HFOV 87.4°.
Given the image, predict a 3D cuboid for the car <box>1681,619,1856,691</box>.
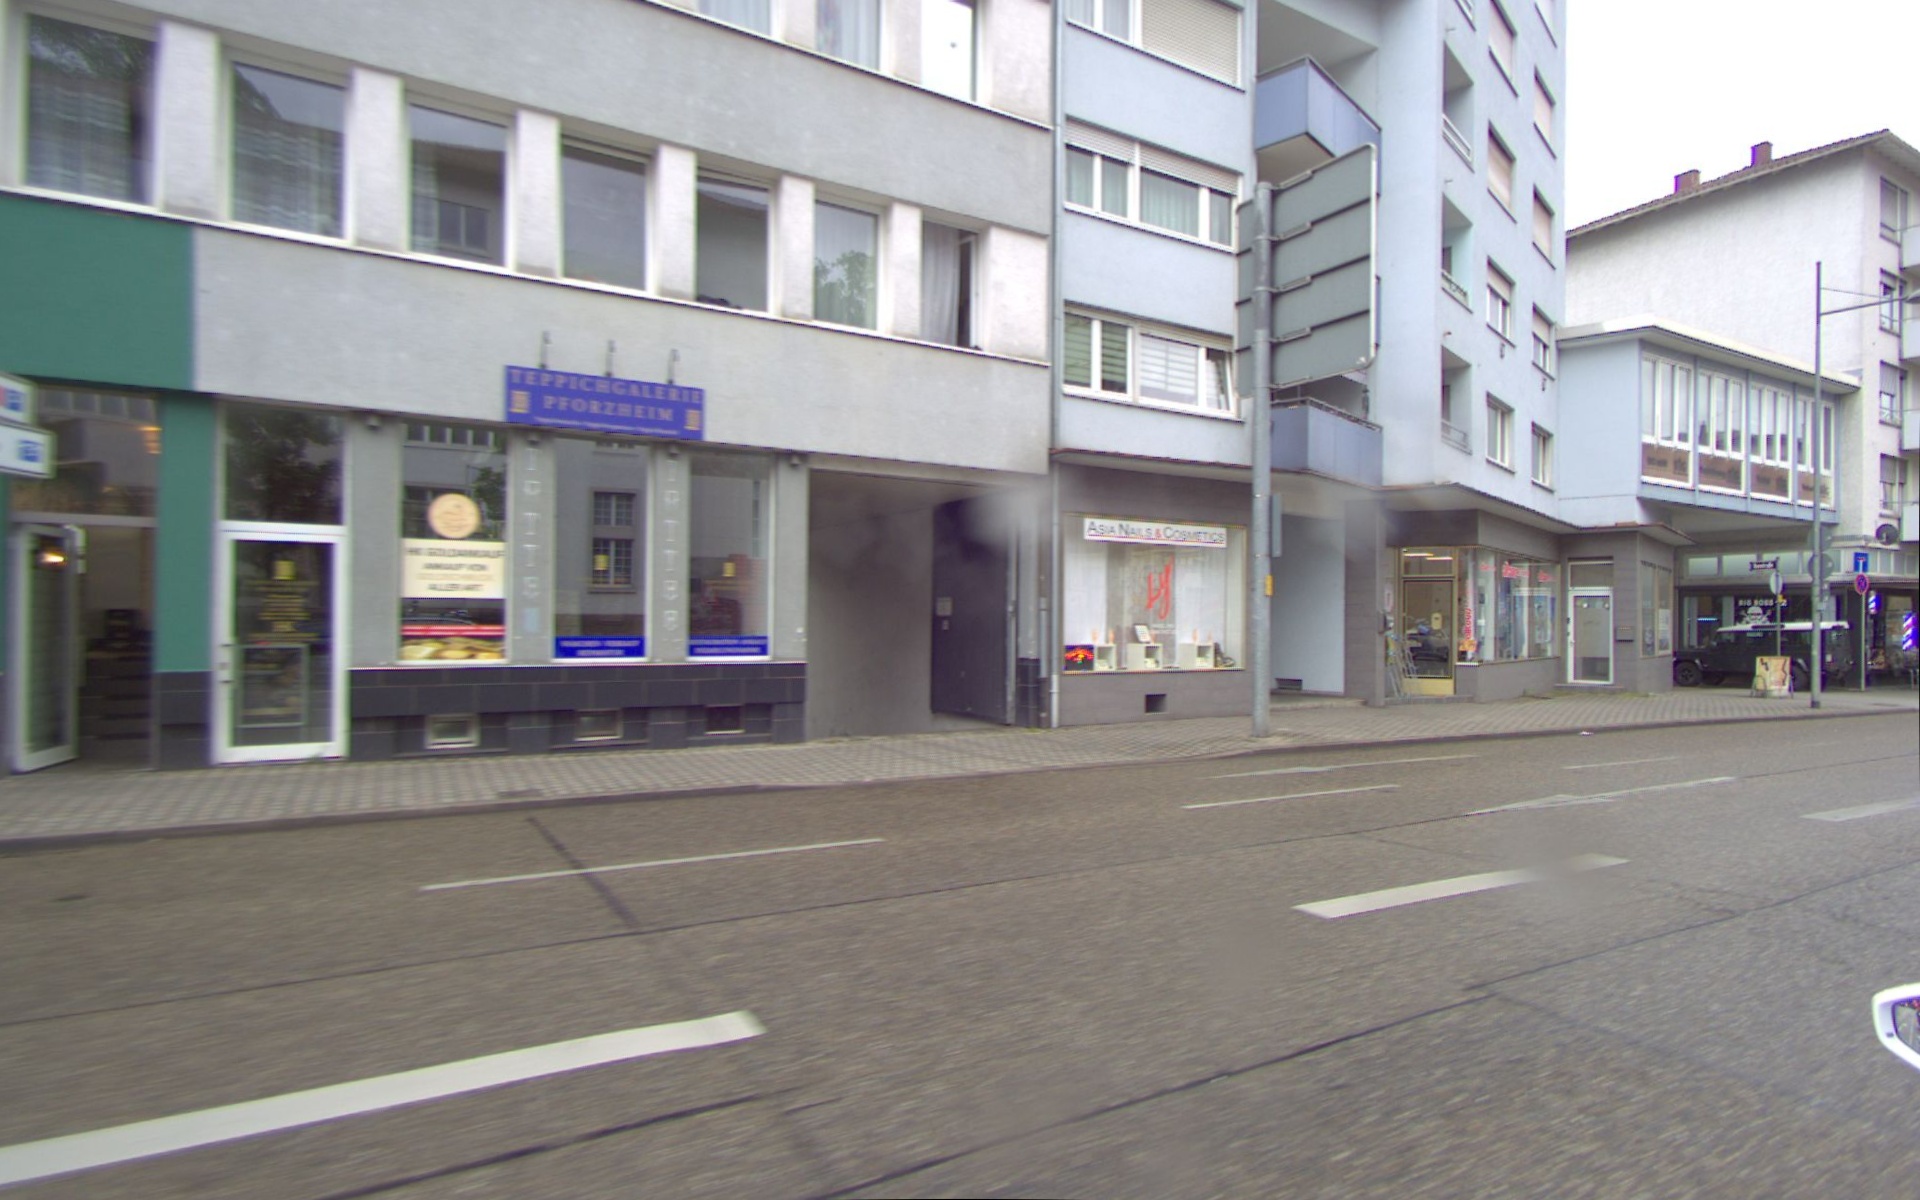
[{"bbox_3d":[24.867,1.644,31.034,1.560,2.061,3.948,2,-1,-27],"label":"car"}]
